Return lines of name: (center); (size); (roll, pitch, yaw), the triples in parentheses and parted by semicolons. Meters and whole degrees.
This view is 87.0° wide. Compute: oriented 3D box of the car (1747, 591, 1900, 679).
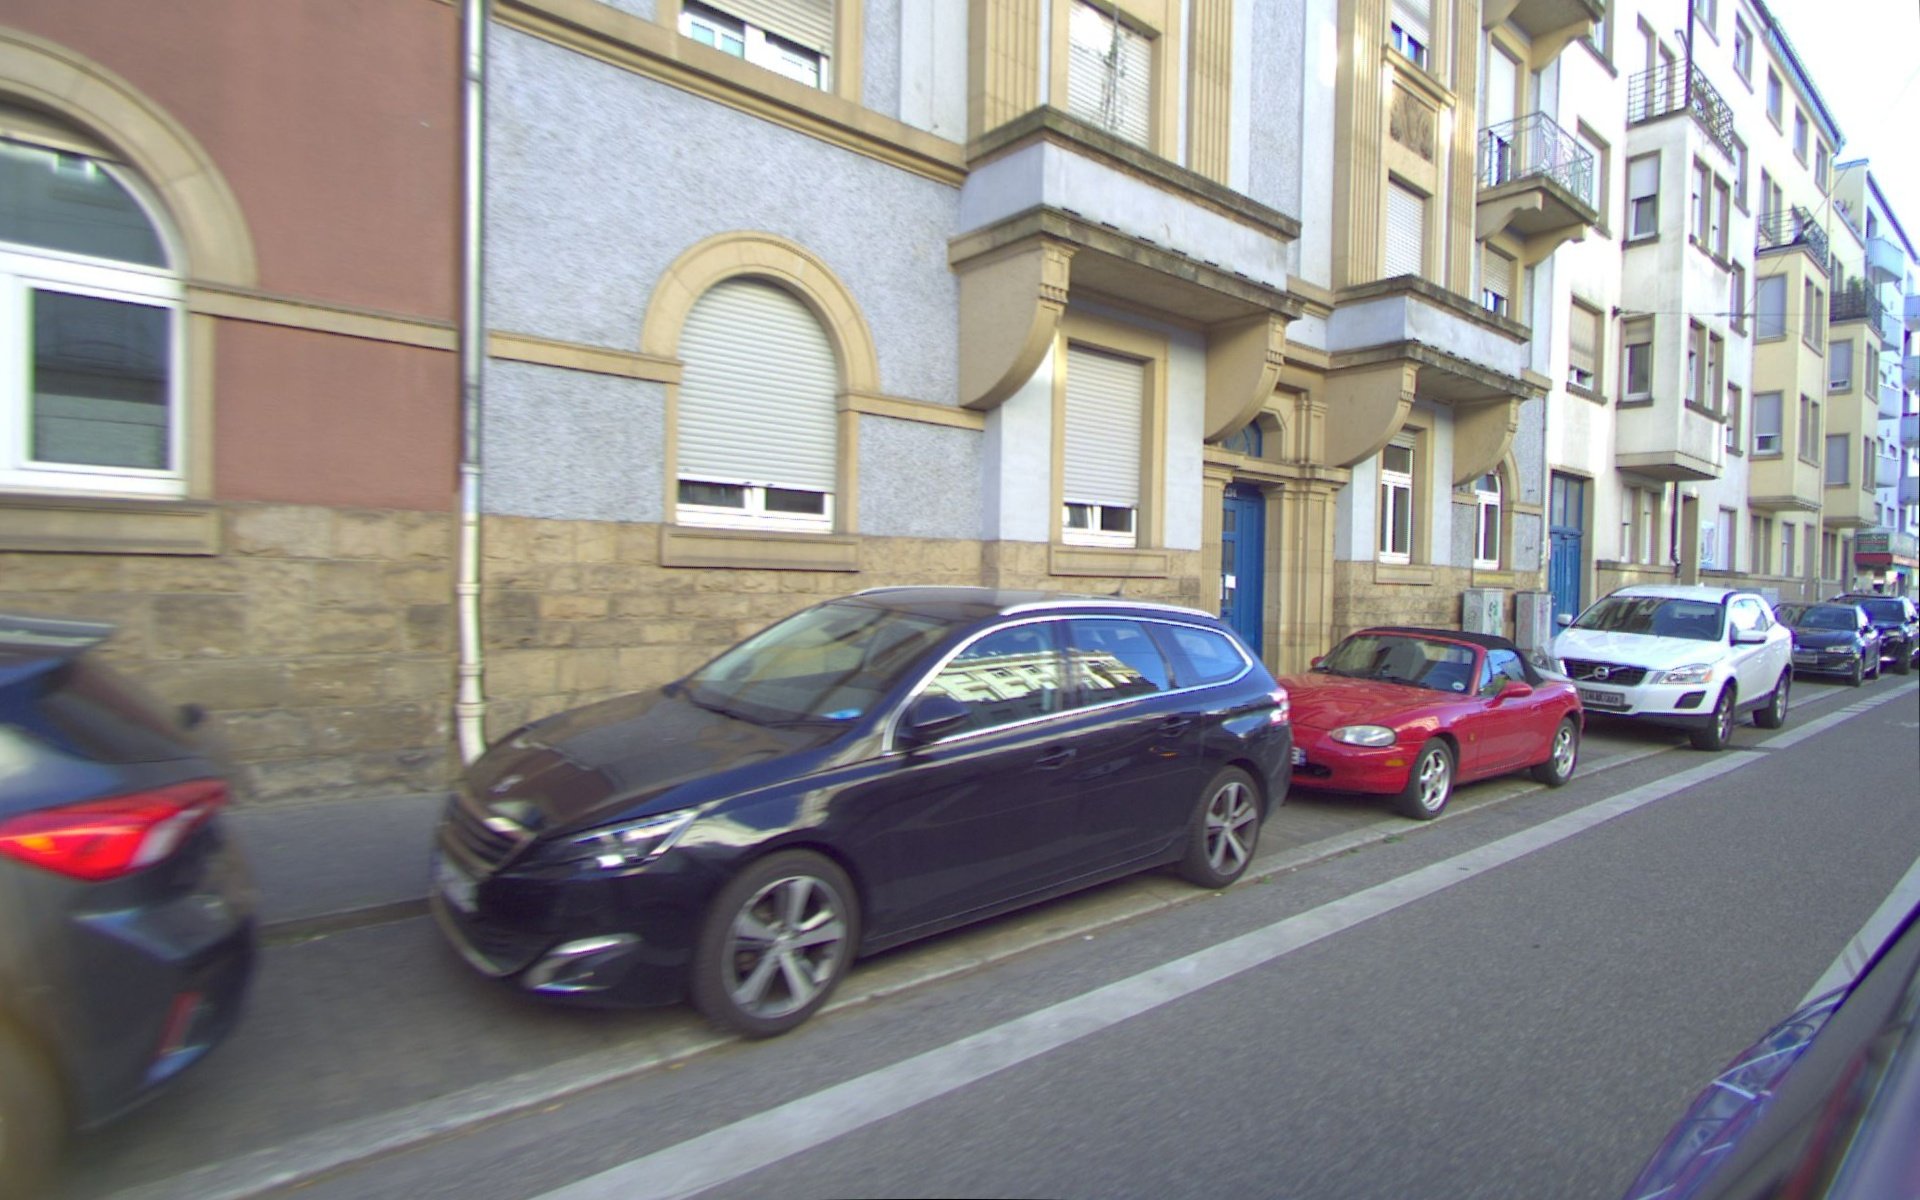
car: (16.378, 0.572, 19.135); (3.964, 1.459, 1.739); (-1, 2, -43)

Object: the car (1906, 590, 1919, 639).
car: (31.725, 0.474, 32.327); (3.931, 1.509, 1.722); (0, 3, -40)

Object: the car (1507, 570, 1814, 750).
car: (8.300, 0.540, 11.840); (4.425, 1.712, 1.847); (0, 2, -40)

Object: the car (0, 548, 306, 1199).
car: (-3.804, 0.643, 1.689); (4.395, 1.532, 1.658); (0, 2, -40)

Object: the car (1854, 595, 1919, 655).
car: (25.679, 0.620, 27.099); (4.625, 1.474, 1.863); (0, 2, -39)

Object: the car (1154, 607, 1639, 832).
car: (3.677, 0.734, 8.139); (4.422, 1.264, 1.659); (0, 2, -38)

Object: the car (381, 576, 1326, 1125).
car: (-0.130, 0.664, 4.880); (4.397, 1.501, 1.657); (0, 2, -42)

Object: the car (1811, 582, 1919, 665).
car: (20.860, 0.459, 22.931); (4.484, 1.686, 1.861); (-1, 2, -43)
